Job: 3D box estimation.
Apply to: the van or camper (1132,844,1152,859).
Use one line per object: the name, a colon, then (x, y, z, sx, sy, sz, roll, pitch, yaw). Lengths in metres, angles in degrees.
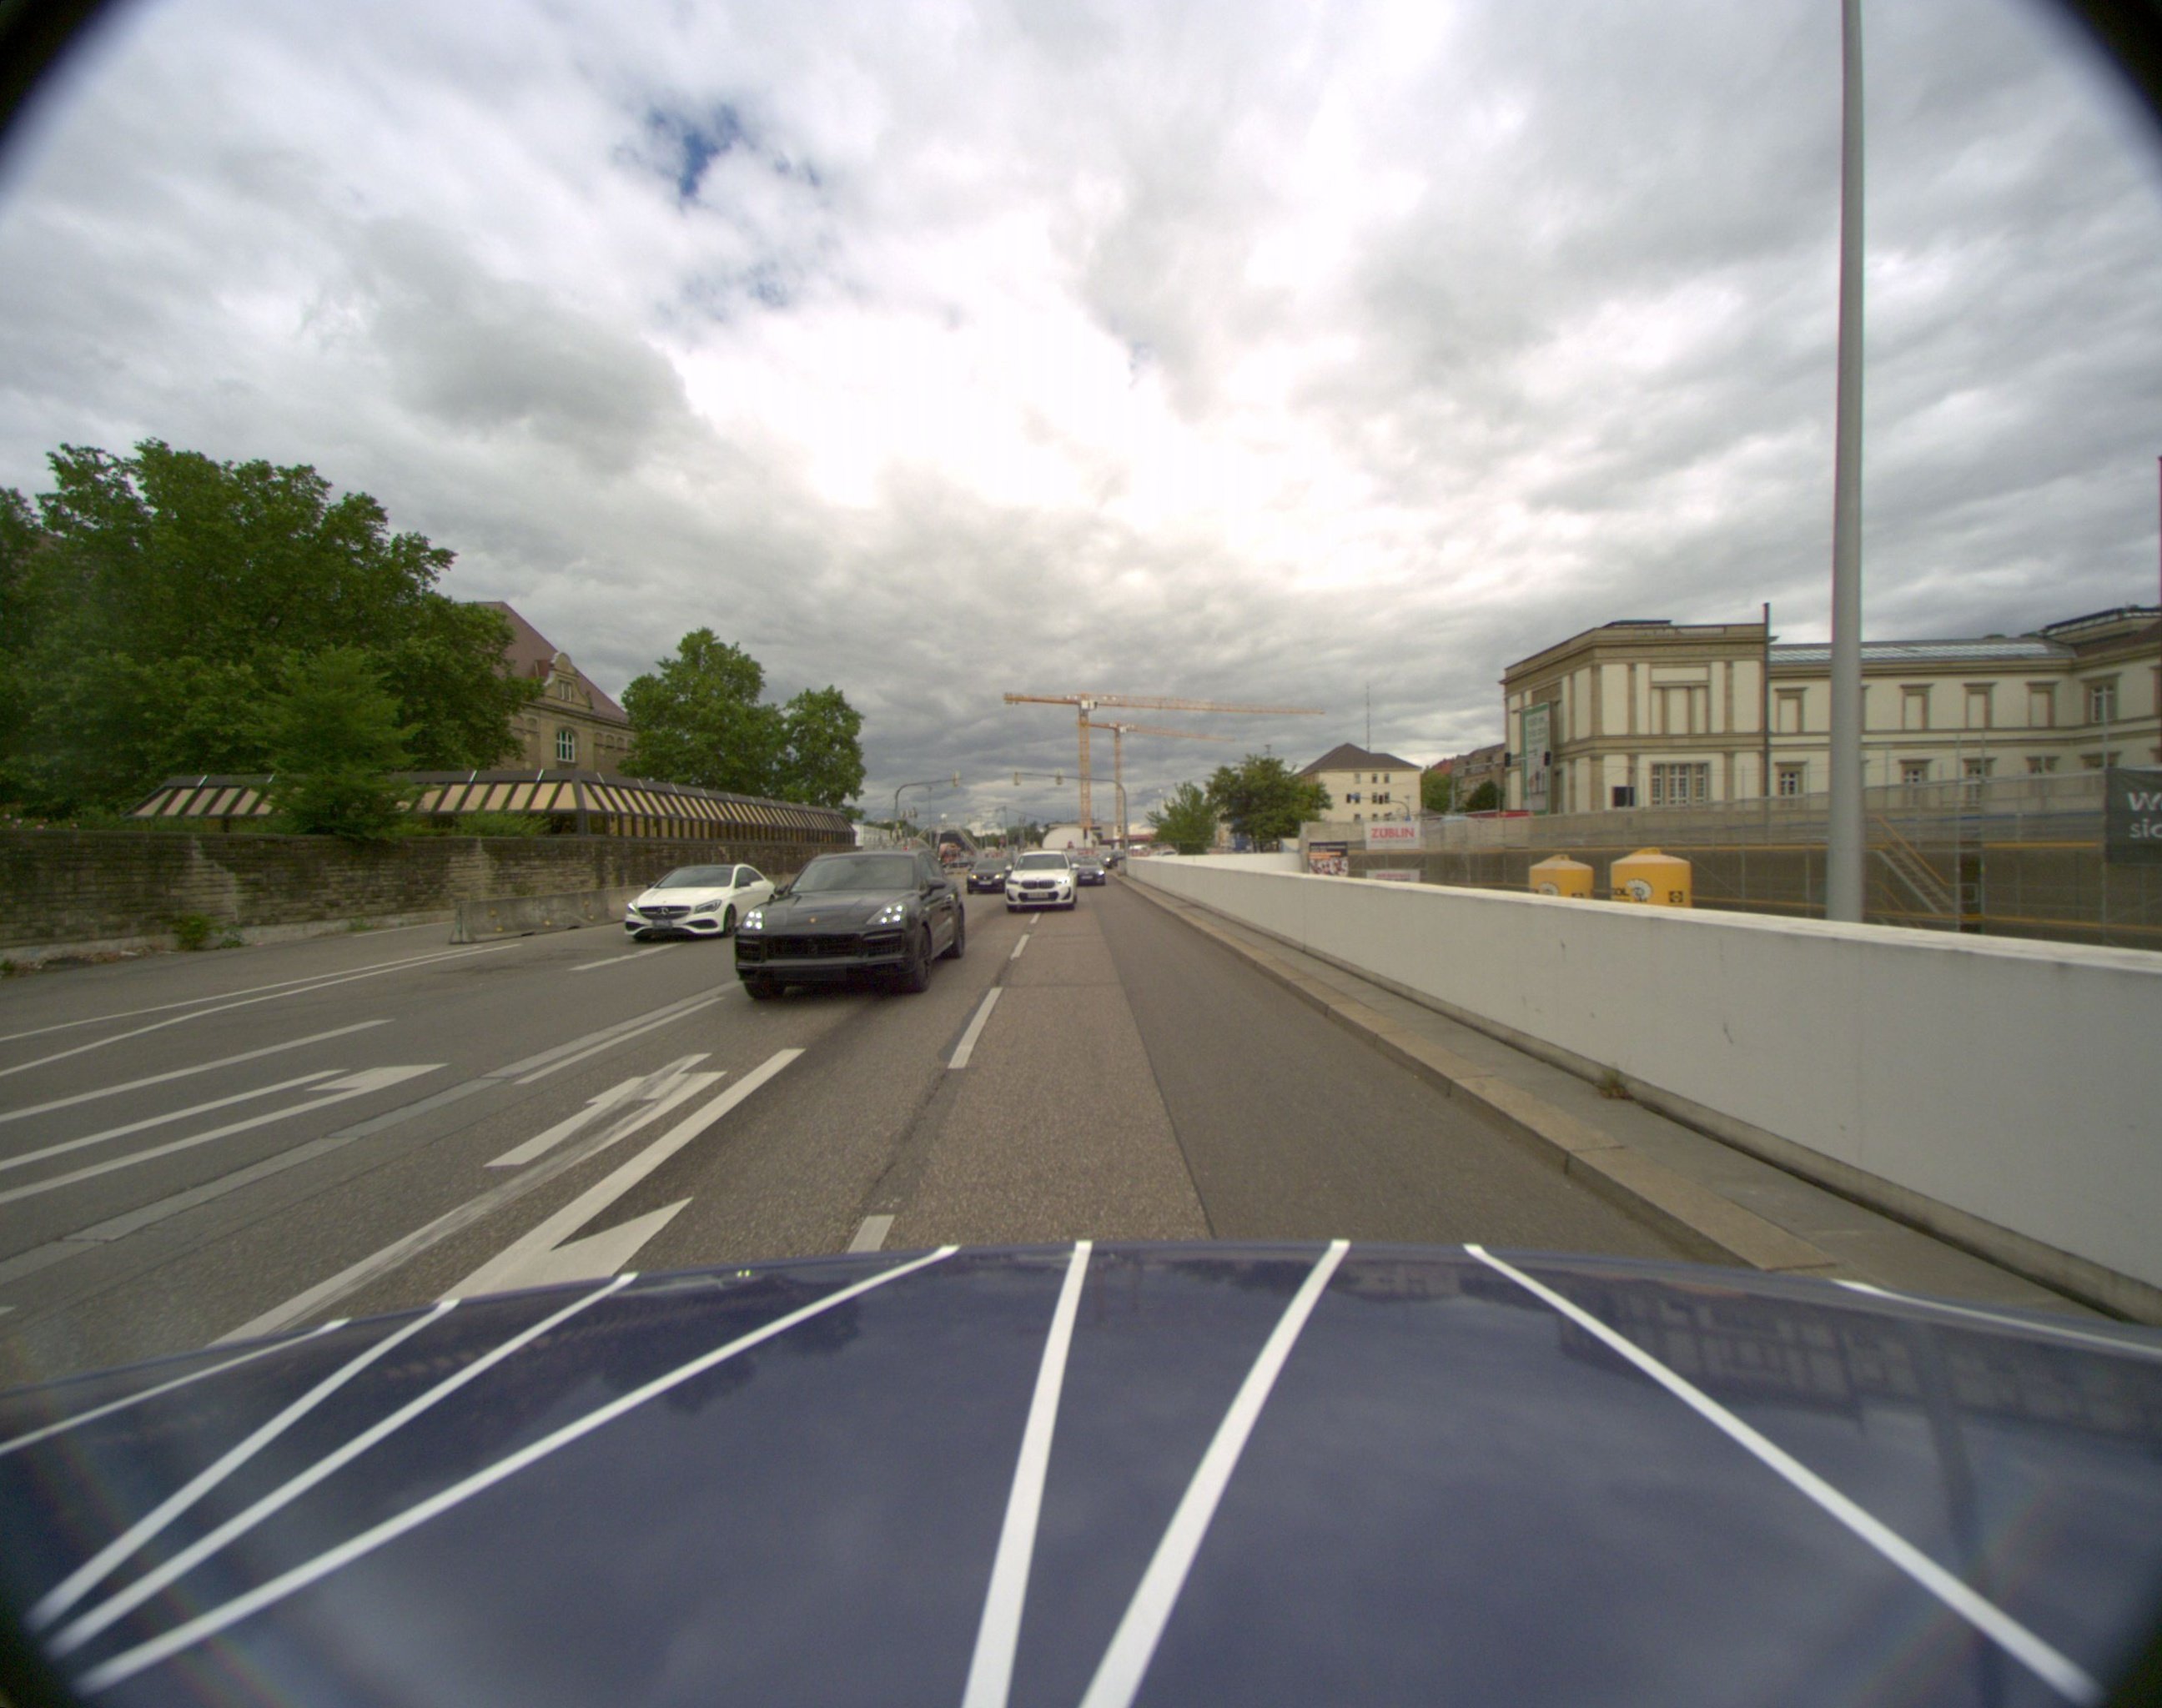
van or camper: (9.737, -0.380, 120.497, 1.995, 2.215, 4.005, -1, 2, 21)

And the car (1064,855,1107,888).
car: (0.266, 0.812, 36.545, 1.852, 1.412, 4.105, -3, 0, 2)

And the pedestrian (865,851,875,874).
pedestrian: (-18.746, 0.792, 67.549, 0.623, 2.002, 0.849, -3, 1, -26)

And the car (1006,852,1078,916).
car: (-1.011, 0.760, 21.519, 1.812, 1.595, 3.712, -2, 0, 0)

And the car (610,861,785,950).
car: (-7.746, 0.945, 15.865, 1.740, 1.427, 4.378, -1, 2, -5)

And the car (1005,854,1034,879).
car: (-3.687, 0.746, 46.181, 1.577, 1.411, 3.570, 0, 0, -2)

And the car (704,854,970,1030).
car: (-2.769, 0.877, 9.902, 1.956, 1.638, 4.607, -3, 0, -1)

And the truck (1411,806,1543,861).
truck: (32.681, -1.507, 64.098, 2.924, 4.059, 16.615, 0, 0, 2)

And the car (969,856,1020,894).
car: (-3.623, 0.840, 32.433, 1.733, 1.461, 4.418, 0, 0, -1)

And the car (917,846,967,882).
car: (-7.805, 0.563, 43.001, 1.937, 1.926, 3.674, 1, 0, 4)

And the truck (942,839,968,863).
truck: (-20.259, -0.451, 121.724, 2.913, 3.654, 9.013, -1, 1, -17)

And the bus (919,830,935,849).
bus: (-29.282, -2.668, 144.335, 2.814, 3.150, 9.393, -1, -1, -11)
